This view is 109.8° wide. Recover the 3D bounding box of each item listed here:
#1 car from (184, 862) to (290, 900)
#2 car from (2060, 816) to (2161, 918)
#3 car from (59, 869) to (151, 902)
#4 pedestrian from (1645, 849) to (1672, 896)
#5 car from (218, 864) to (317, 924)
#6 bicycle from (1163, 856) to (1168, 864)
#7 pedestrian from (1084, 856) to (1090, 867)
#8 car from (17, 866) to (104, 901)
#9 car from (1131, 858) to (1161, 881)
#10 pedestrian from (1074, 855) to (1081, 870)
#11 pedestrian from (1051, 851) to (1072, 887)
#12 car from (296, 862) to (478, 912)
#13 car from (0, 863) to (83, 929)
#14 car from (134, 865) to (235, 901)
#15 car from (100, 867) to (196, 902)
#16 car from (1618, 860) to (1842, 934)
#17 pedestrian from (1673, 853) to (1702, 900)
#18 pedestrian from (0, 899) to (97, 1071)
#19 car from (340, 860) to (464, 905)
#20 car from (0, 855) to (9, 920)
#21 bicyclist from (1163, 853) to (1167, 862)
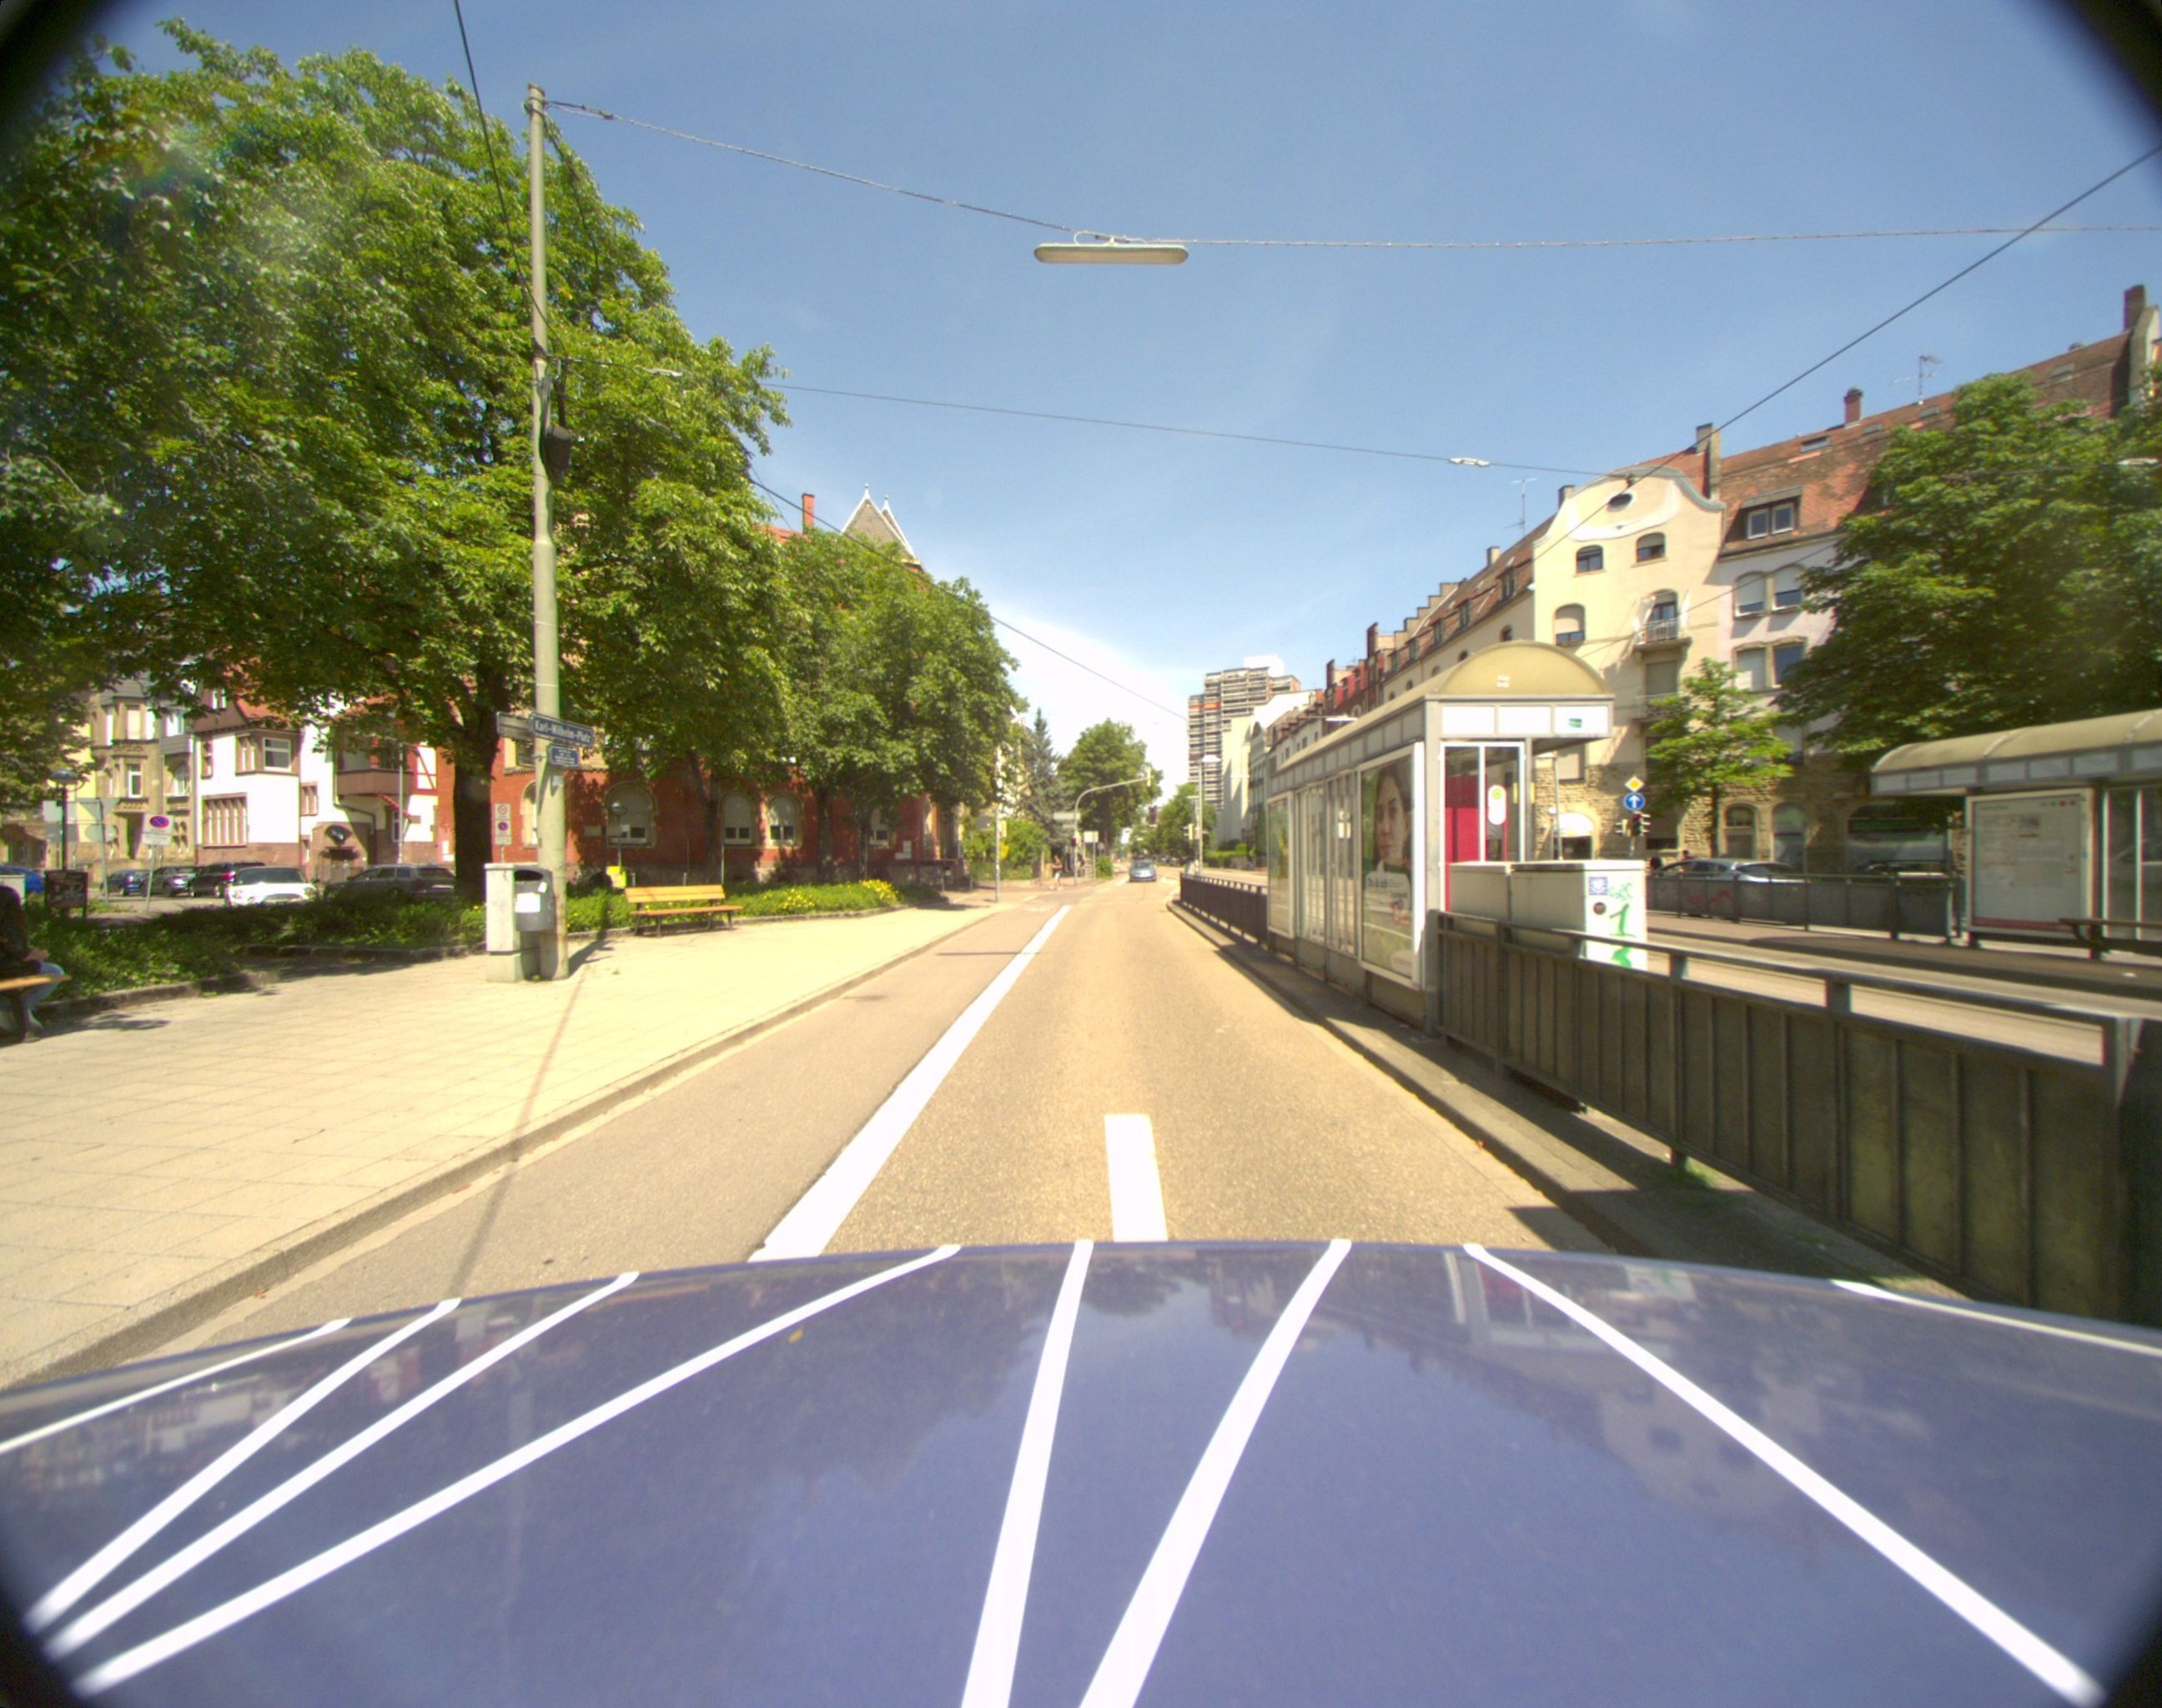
[{"bbox_3d":[-39.587,1.275,35.661,4.299,1.608,1.941,-2,1,23],"label":"car"},{"bbox_3d":[29.636,0.306,19.043,2.276,2.658,5.818,-3,1,-19],"label":"car"},{"bbox_3d":[-53.021,1.728,41.264,4.299,1.608,1.941,-2,1,23],"label":"car"},{"bbox_3d":[20.138,0.649,26.501,0.594,1.637,0.474,0,0,1],"label":"pedestrian"},{"bbox_3d":[-22.667,1.066,21.128,3.642,1.497,1.709,-1,-1,41],"label":"car"},{"bbox_3d":[17.445,1.203,156.932,0.644,1.503,1.970,-2,1,-2],"label":"bicycle"},{"bbox_3d":[0.921,1.182,116.472,0.686,1.732,0.660,-2,1,3],"label":"pedestrian"},{"bbox_3d":[-59.175,1.709,44.075,4.299,1.862,1.941,-2,1,23],"label":"car"},{"bbox_3d":[4.369,1.006,50.961,1.895,1.372,4.001,-2,1,5],"label":"car"},{"bbox_3d":[-0.390,0.879,80.861,0.702,1.645,0.665,0,0,1],"label":"pedestrian"},{"bbox_3d":[-1.016,0.765,39.357,0.840,1.813,0.672,-1,1,-31],"label":"pedestrian"},{"bbox_3d":[-23.948,1.130,26.287,5.027,1.474,1.939,-2,1,11],"label":"car"},{"bbox_3d":[-32.842,1.301,22.021,1.934,1.869,4.315,-2,1,23],"label":"car"},{"bbox_3d":[-44.147,1.430,37.407,4.299,1.608,1.941,-2,1,23],"label":"car"},{"bbox_3d":[-48.420,1.571,39.429,4.299,1.608,1.941,-2,1,23],"label":"car"},{"bbox_3d":[14.840,0.909,17.719,1.812,1.386,3.999,-2,1,1],"label":"car"},{"bbox_3d":[20.290,0.752,25.419,0.594,1.542,0.474,0,0,-1],"label":"pedestrian"},{"bbox_3d":[-7.741,0.911,5.412,0.566,1.136,0.725,0,1,-16],"label":"pedestrian"},{"bbox_3d":[-27.041,1.133,30.281,4.299,1.608,1.941,-2,1,23],"label":"car"},{"bbox_3d":[-37.658,1.200,23.789,1.934,2.178,4.315,-2,1,23],"label":"car"},{"bbox_3d":[17.417,0.736,156.916,0.644,1.864,0.716,-2,1,-2],"label":"bicyclist"}]
